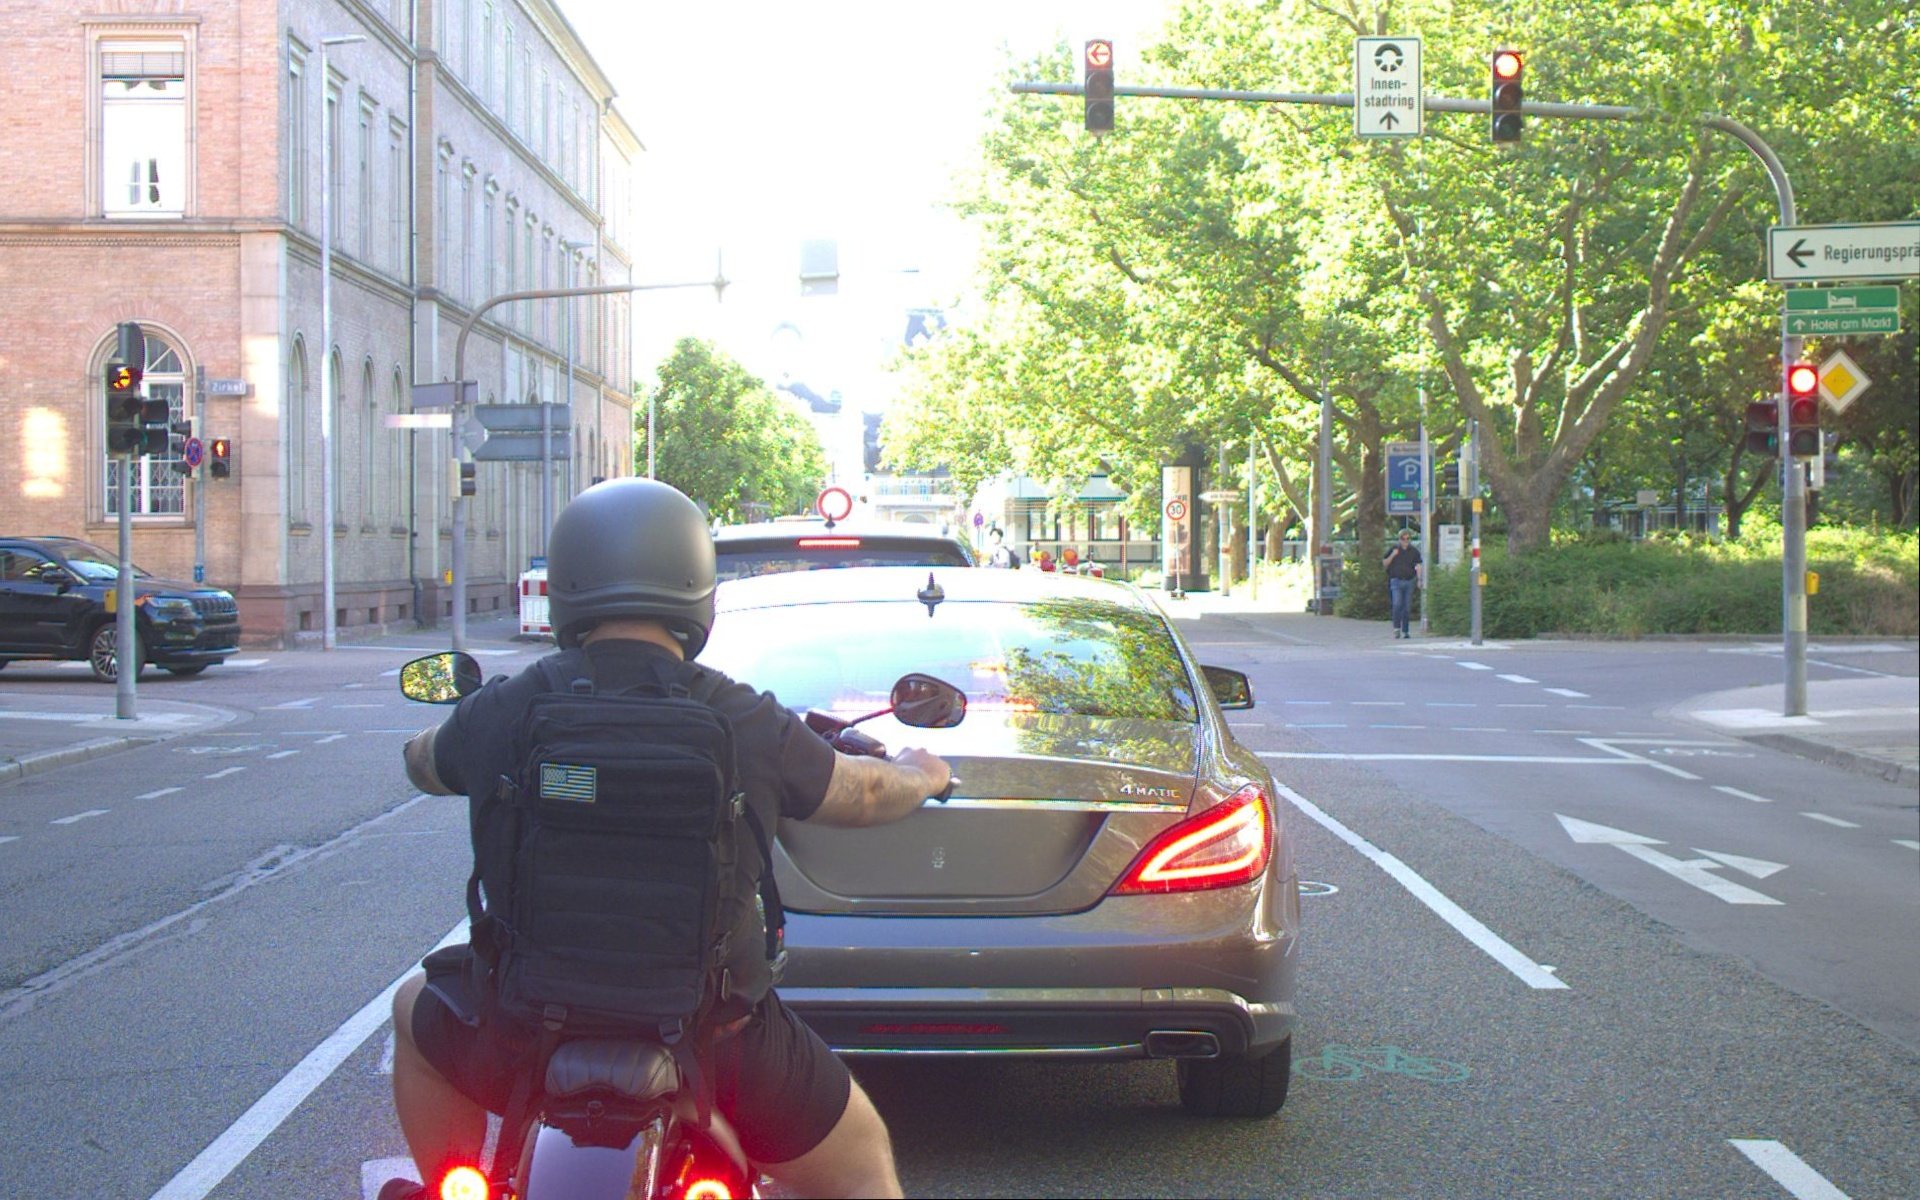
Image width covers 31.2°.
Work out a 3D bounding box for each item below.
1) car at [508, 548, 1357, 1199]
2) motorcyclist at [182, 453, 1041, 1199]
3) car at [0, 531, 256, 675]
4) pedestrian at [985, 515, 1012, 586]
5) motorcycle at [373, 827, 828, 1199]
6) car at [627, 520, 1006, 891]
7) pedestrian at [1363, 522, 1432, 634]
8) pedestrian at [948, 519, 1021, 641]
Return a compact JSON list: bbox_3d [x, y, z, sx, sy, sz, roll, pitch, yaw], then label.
[{"bbox_3d":[-0.083,0.599,9.613,1.882,1.444,3.820,1,1,-1],"label":"car"},{"bbox_3d":[-0.483,0.600,5.301,1.149,1.593,1.288,1,0,-1],"label":"motorcyclist"},{"bbox_3d":[-10.405,0.010,39.196,4.371,1.565,1.856,1,0,0],"label":"car"},{"bbox_3d":[1.122,-1.449,100.811,0.764,2.044,0.712,1,0,-1],"label":"pedestrian"},{"bbox_3d":[-0.496,0.930,5.331,0.513,0.999,2.013,1,1,-1],"label":"motorcycle"},{"bbox_3d":[-0.638,0.415,16.728,1.621,1.588,4.000,0,1,-1],"label":"car"},{"bbox_3d":[7.484,-0.376,58.864,0.749,1.903,0.926,1,0,-28],"label":"pedestrian"},{"bbox_3d":[0.378,-0.308,52.555,1.002,1.820,1.076,1,0,6],"label":"pedestrian"}]
